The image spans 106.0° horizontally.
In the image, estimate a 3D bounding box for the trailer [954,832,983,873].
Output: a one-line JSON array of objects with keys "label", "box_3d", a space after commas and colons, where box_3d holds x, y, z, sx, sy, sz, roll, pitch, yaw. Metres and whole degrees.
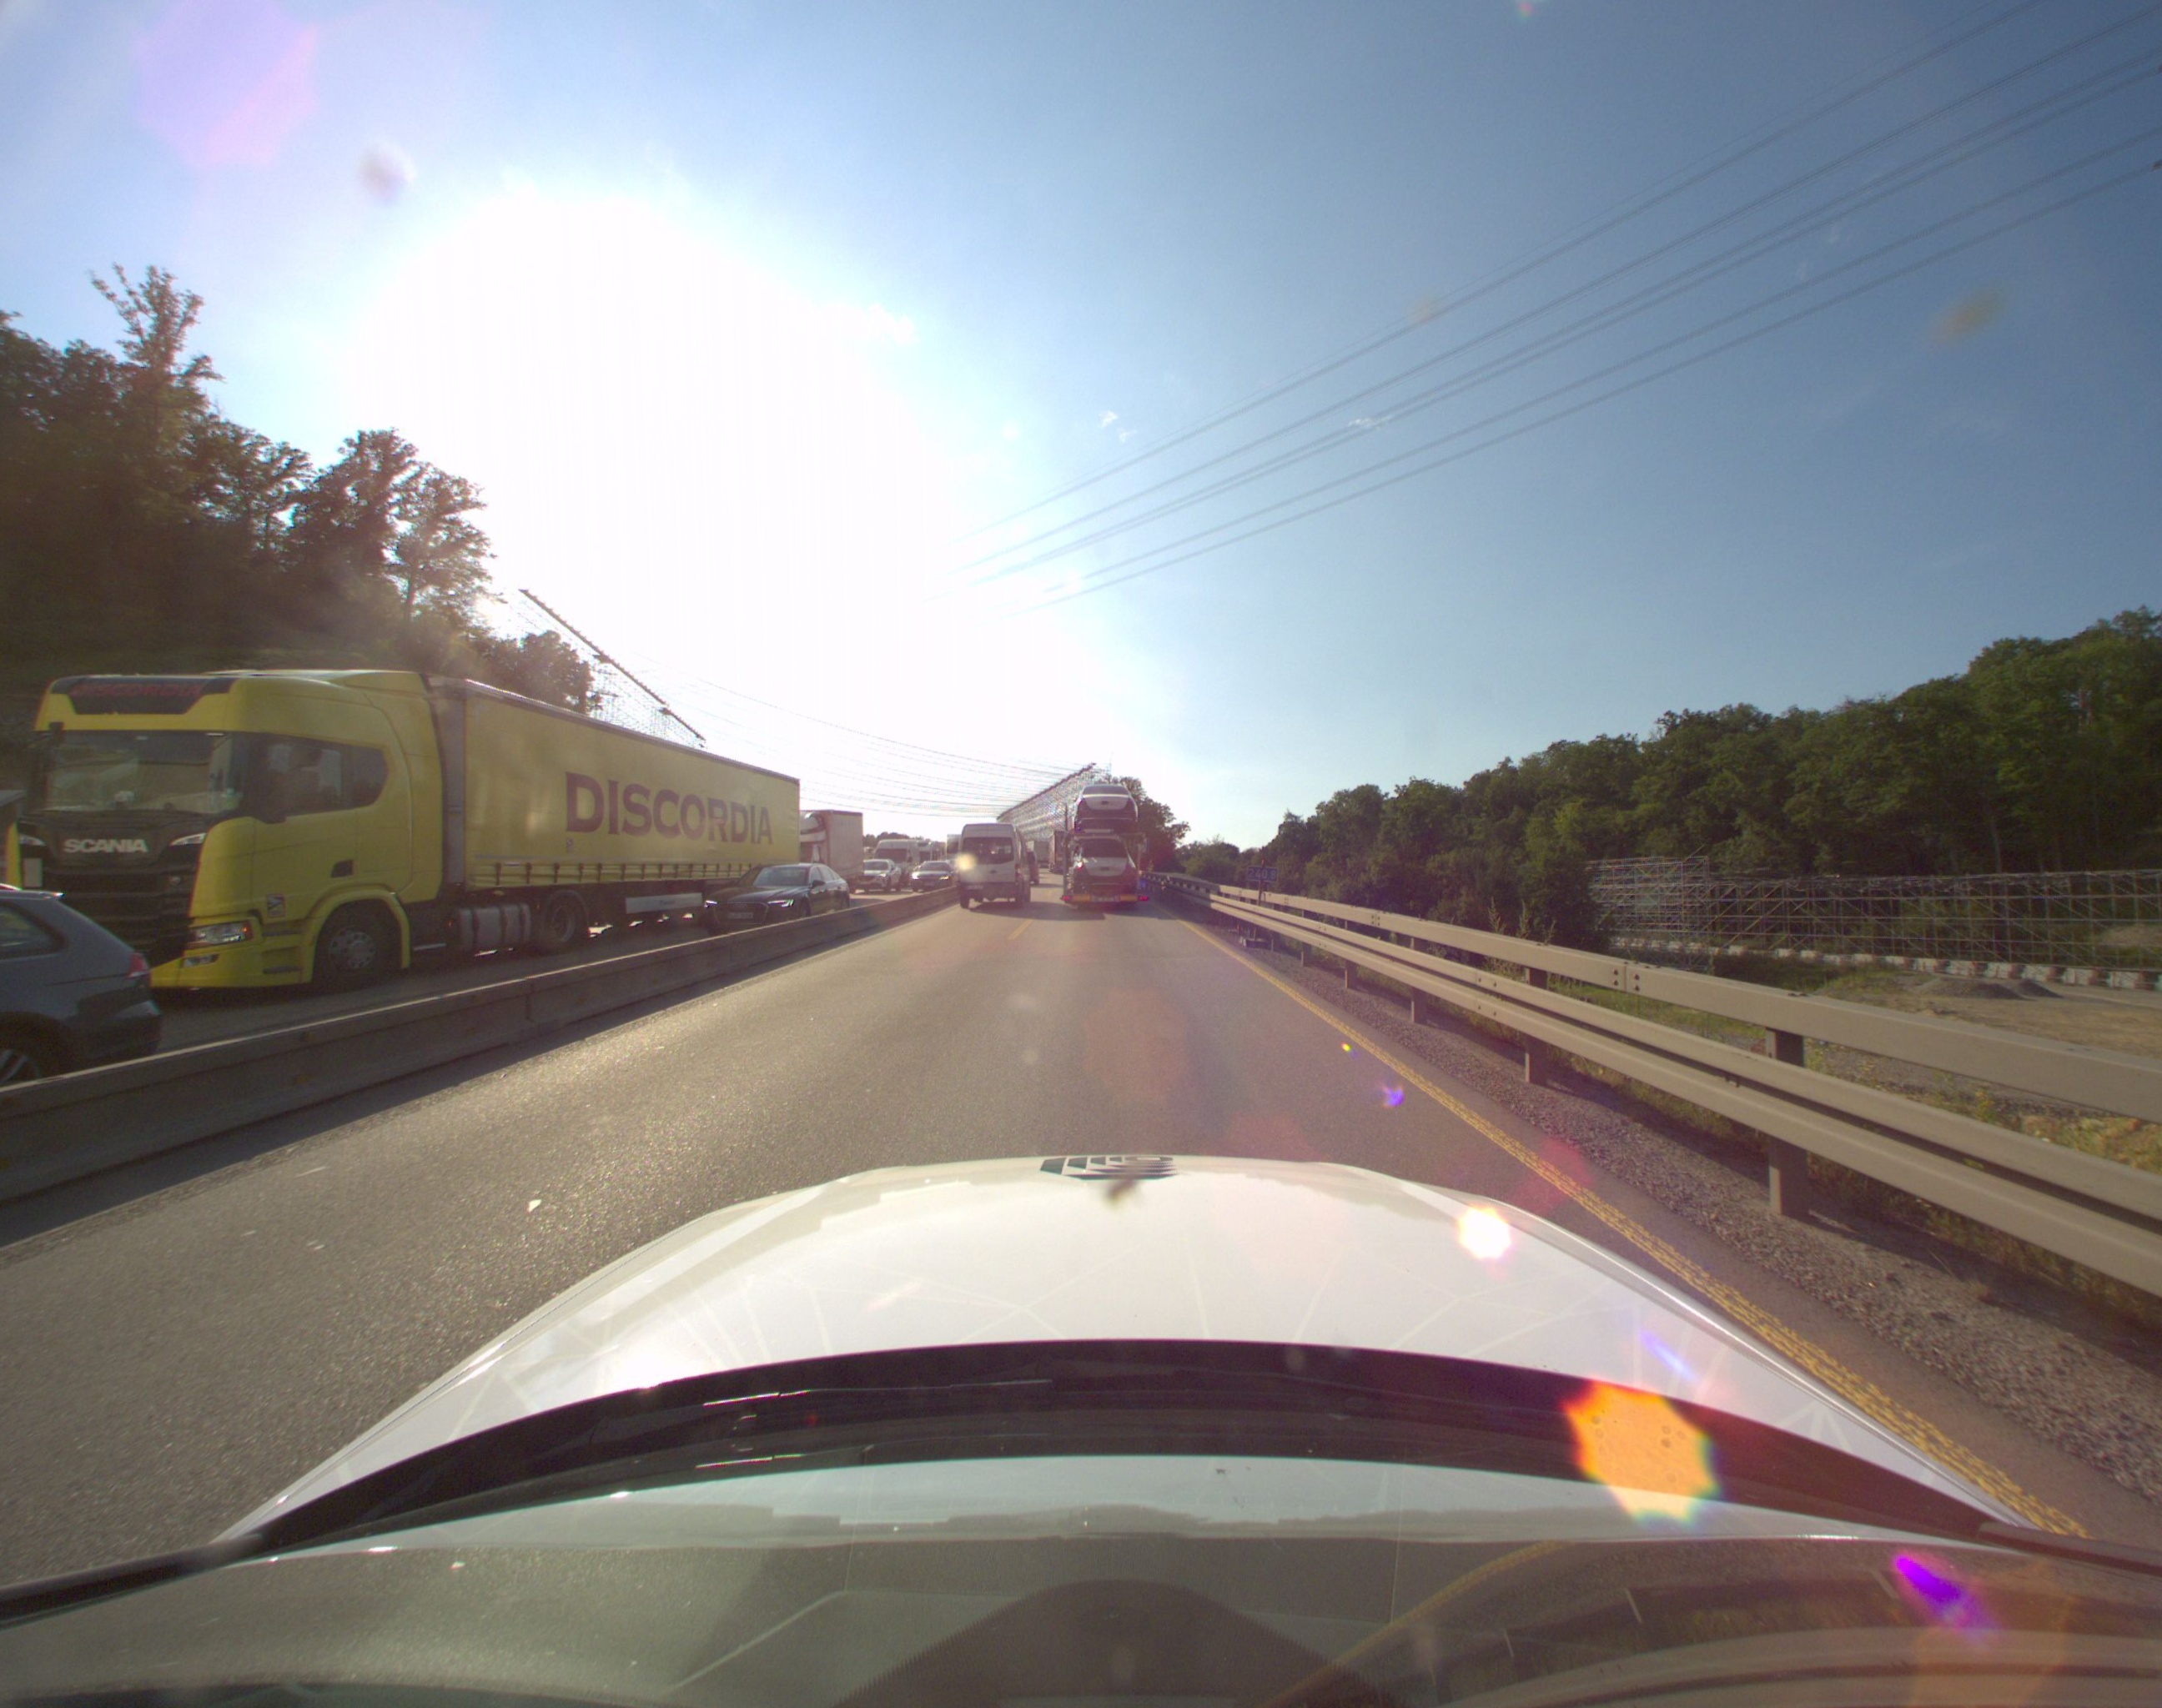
[{"label": "trailer", "box_3d": [-12.380, -0.061, 90.585, 2.717, 4.218, 13.719, 0, 0, -6]}]

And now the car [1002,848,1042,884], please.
[{"label": "car", "box_3d": [-3.413, 0.706, 47.634, 1.987, 2.014, 4.000, 0, -1, 0]}]

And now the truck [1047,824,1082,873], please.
[{"label": "truck", "box_3d": [-1.712, -0.523, 79.451, 2.727, 4.385, 11.503, 1, 0, -4]}]

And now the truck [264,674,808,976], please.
[{"label": "truck", "box_3d": [-9.817, -0.333, 18.207, 2.699, 4.088, 14.149, -1, -1, 0]}]

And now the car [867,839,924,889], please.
[{"label": "car", "box_3d": [-10.384, 0.576, 45.960, 1.951, 2.621, 5.745, -1, -1, -1]}]

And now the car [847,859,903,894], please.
[{"label": "car", "box_3d": [-9.443, 0.997, 37.642, 1.760, 1.523, 3.997, 0, -1, -4]}]

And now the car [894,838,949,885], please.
[{"label": "car", "box_3d": [-10.713, 0.500, 55.222, 2.328, 2.918, 7.628, -1, -1, -1]}]

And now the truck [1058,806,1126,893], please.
[{"label": "truck", "box_3d": [0.388, -0.183, 38.454, 2.874, 3.702, 7.321, 0, -1, -1]}]

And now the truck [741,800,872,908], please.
[{"label": "truck", "box_3d": [-9.841, 0.023, 30.116, 2.441, 3.463, 7.611, 0, 0, -2]}]

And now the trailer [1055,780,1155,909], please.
[{"label": "trailer", "box_3d": [0.562, -0.223, 30.975, 2.860, 3.725, 14.939, 0, 0, -1]}]

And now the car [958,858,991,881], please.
[{"label": "car", "box_3d": [-8.030, 1.112, 61.909, 2.053, 1.486, 4.721, -3, 1, -3]}]

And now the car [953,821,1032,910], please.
[{"label": "car", "box_3d": [-2.763, 0.360, 26.297, 1.949, 2.621, 4.001, -1, -1, 2]}]

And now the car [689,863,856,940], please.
[{"label": "car", "box_3d": [-6.409, 0.915, 17.563, 1.802, 1.426, 4.672, 0, -1, 0]}]

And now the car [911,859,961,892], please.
[{"label": "car", "box_3d": [-6.948, 0.995, 39.363, 1.649, 1.523, 4.286, 0, -1, 0]}]

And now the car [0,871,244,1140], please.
[{"label": "car", "box_3d": [-6.623, 0.812, 3.336, 1.651, 1.429, 4.564, 0, -1, 0]}]

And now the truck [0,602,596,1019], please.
[{"label": "truck", "box_3d": [-9.789, -0.407, 11.094, 2.705, 4.088, 6.099, -1, -1, -1]}]

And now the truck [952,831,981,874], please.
[{"label": "truck", "box_3d": [-11.700, -0.119, 83.846, 2.709, 4.218, 5.670, 0, -1, -6]}]

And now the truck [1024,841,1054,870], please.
[{"label": "truck", "box_3d": [-6.680, 0.213, 128.278, 3.683, 4.220, 13.636, -3, 0, -7]}]
